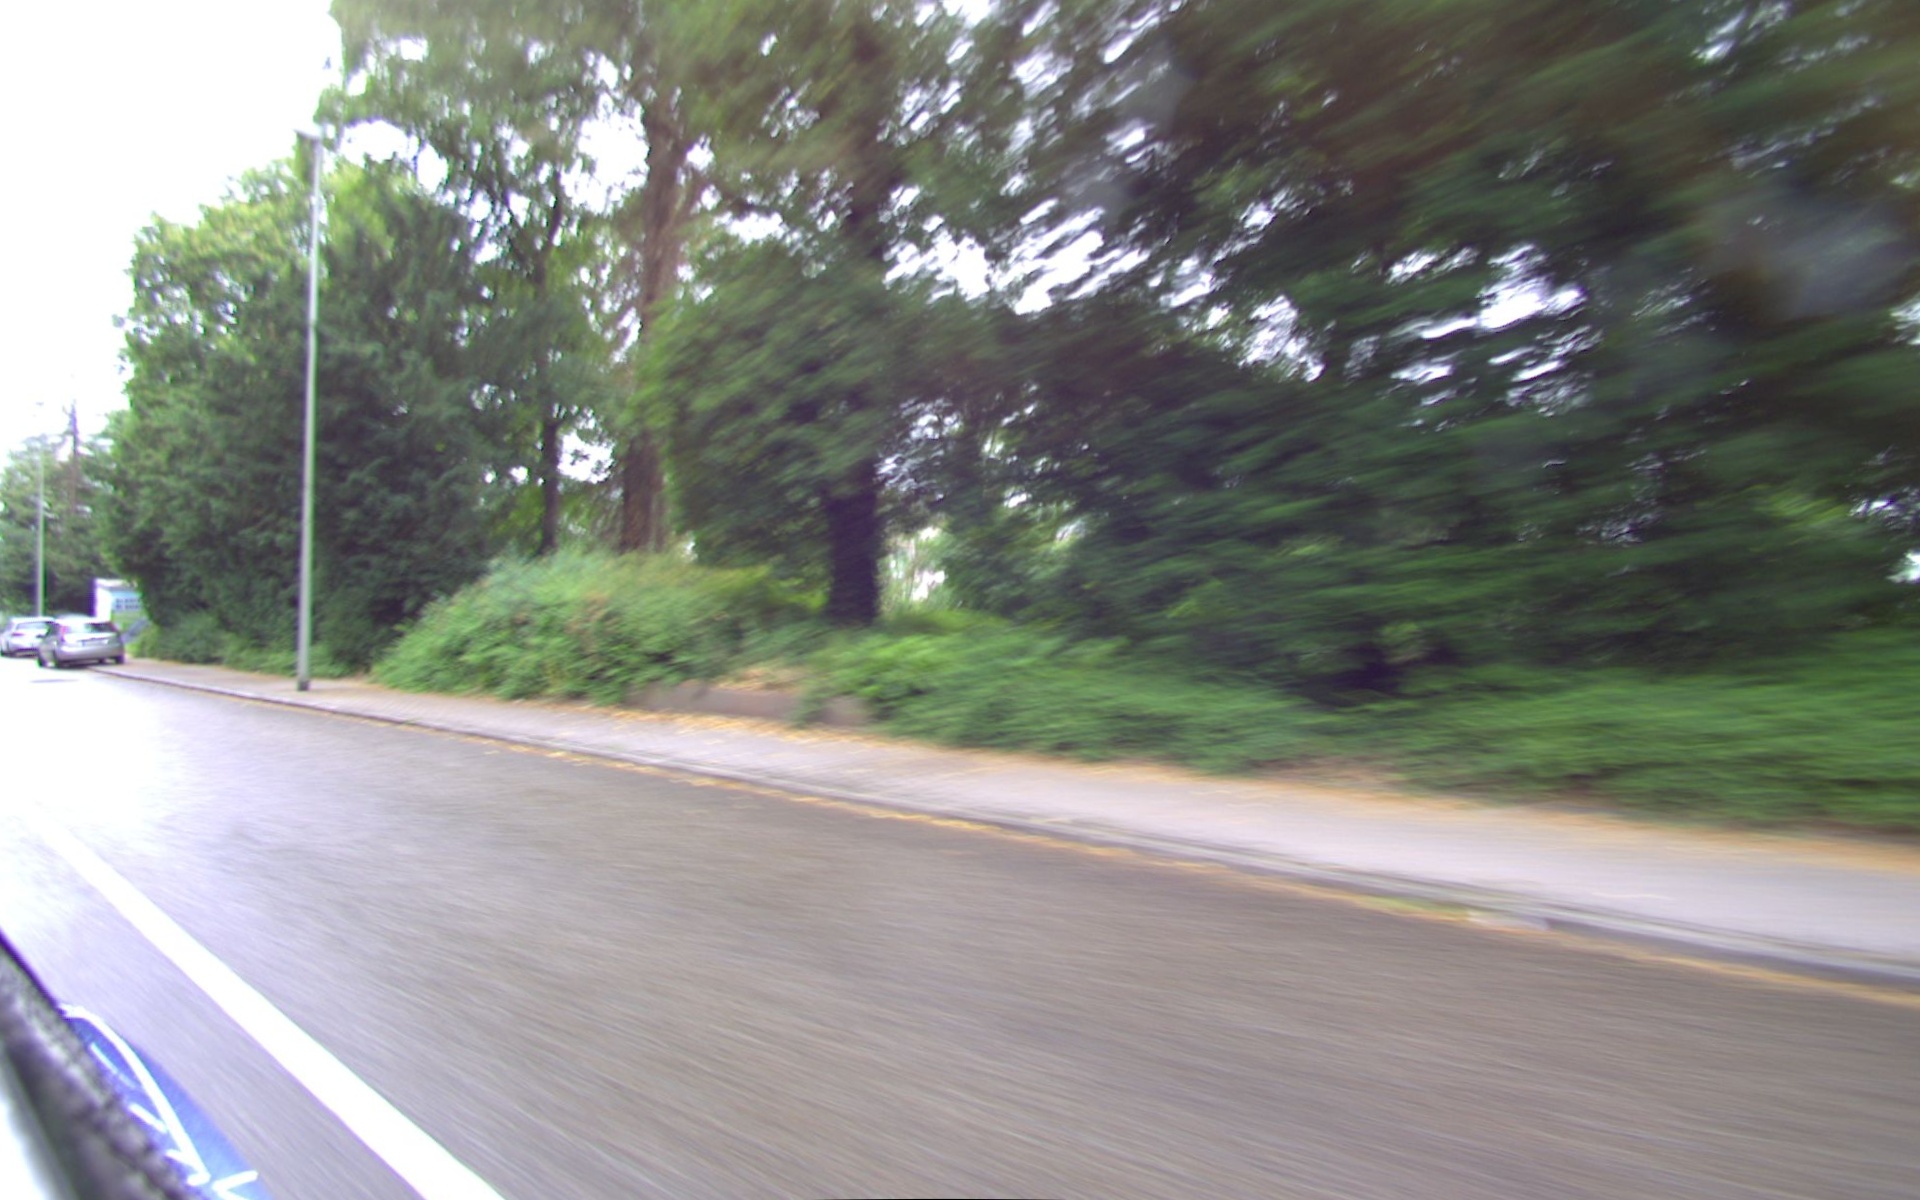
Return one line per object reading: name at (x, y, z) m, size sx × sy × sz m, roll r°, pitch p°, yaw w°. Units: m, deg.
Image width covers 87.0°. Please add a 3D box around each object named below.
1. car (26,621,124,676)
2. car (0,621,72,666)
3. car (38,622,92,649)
car at (-27.385, 1.455, 31.289) m, size 3.923 × 1.510 × 1.610 m, roll -1°, pitch 1°, yaw 39°
car at (-35.932, 1.669, 39.112) m, size 4.237 × 1.624 × 1.866 m, roll -1°, pitch -4°, yaw 42°
car at (-49.140, 1.920, 55.515) m, size 4.395 × 1.470 × 1.704 m, roll -1°, pitch -2°, yaw 42°
